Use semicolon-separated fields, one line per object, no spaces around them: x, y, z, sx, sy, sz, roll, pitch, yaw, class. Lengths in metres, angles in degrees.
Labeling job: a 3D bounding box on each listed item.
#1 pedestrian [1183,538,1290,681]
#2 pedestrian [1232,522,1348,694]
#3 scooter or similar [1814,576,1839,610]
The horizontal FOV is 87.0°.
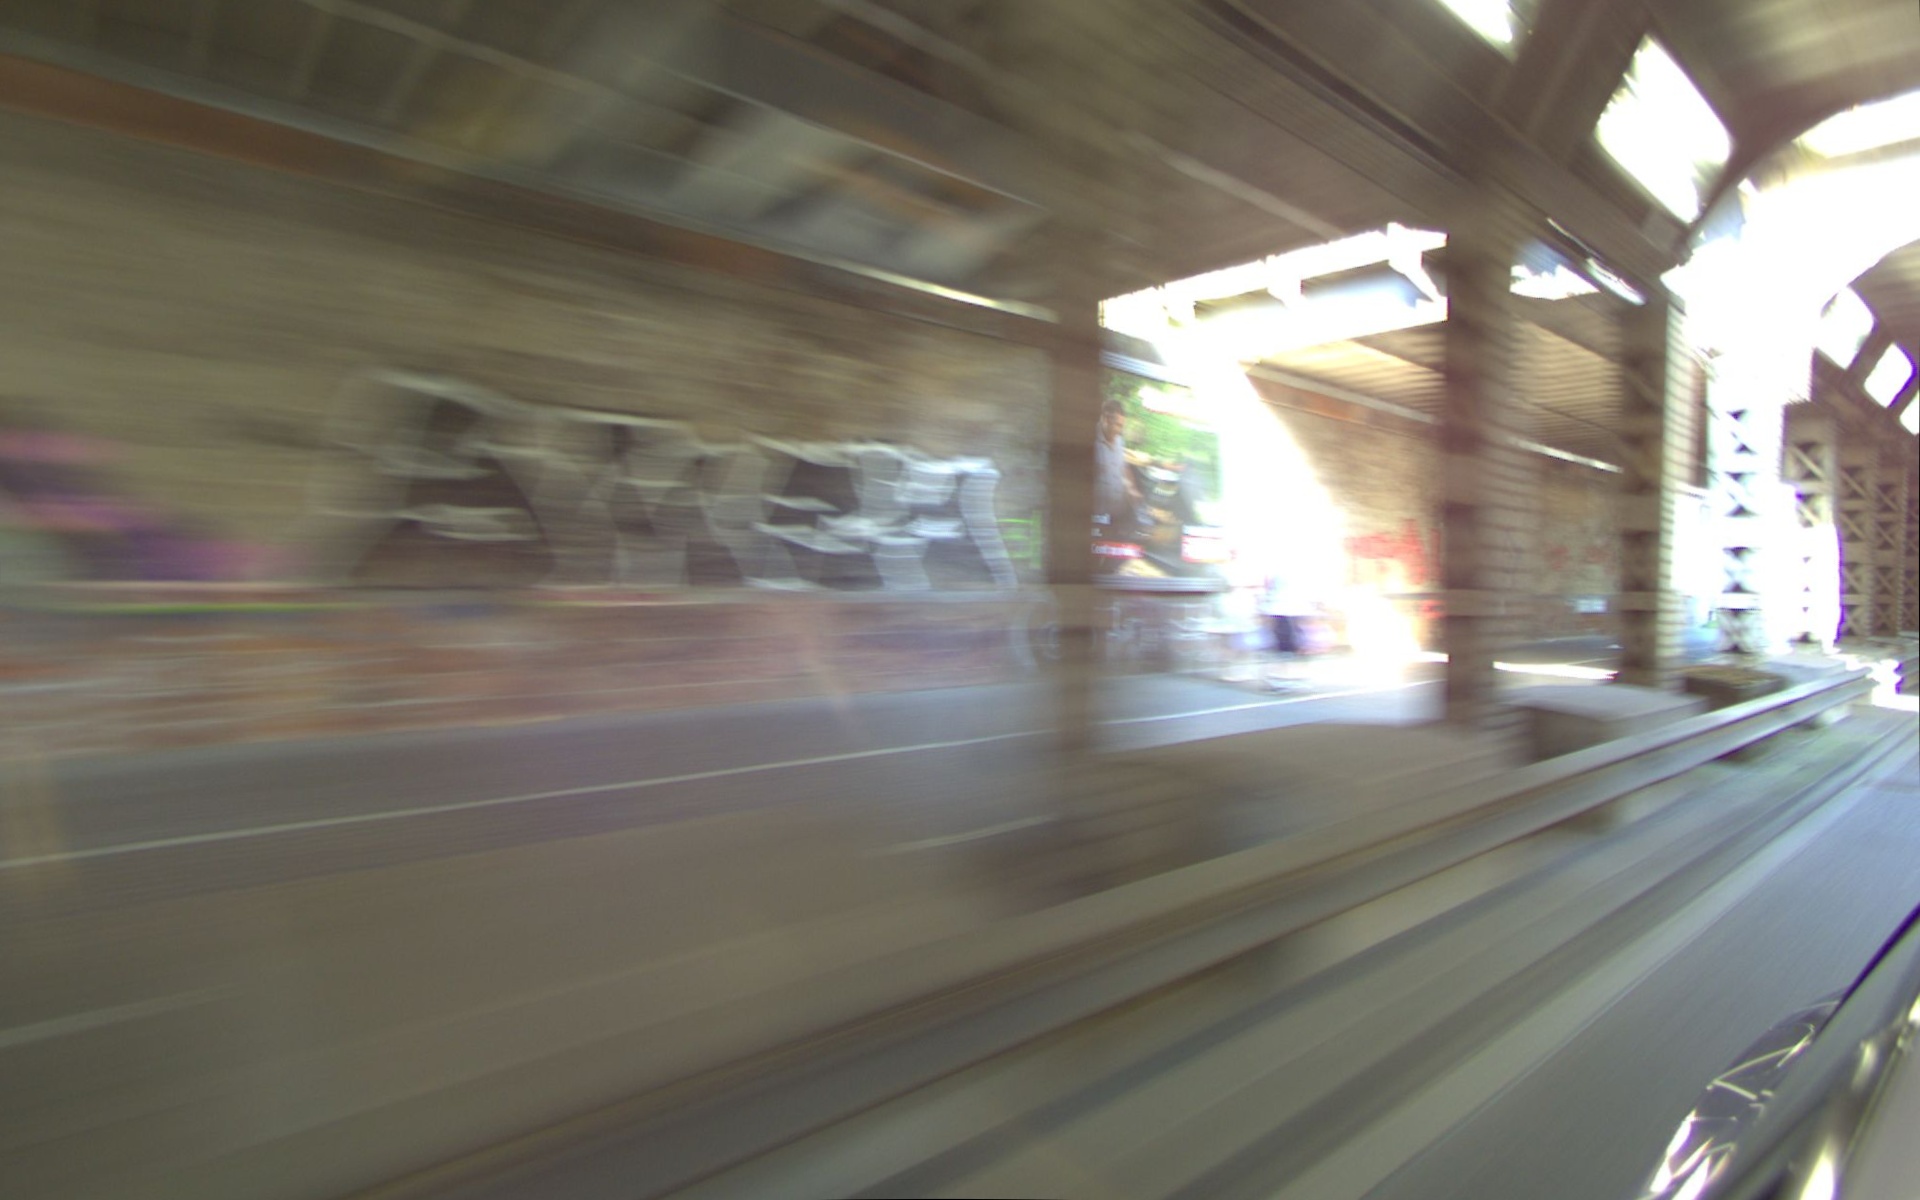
3.424;0.088;12.547;0.872;1.676;0.917;-1;3;-44;pedestrian
3.784;0.059;11.603;0.907;1.857;0.881;0;3;-44;pedestrian
32.301;-0.265;37.727;1.268;1.212;0.538;-2;1;-41;scooter or similar
